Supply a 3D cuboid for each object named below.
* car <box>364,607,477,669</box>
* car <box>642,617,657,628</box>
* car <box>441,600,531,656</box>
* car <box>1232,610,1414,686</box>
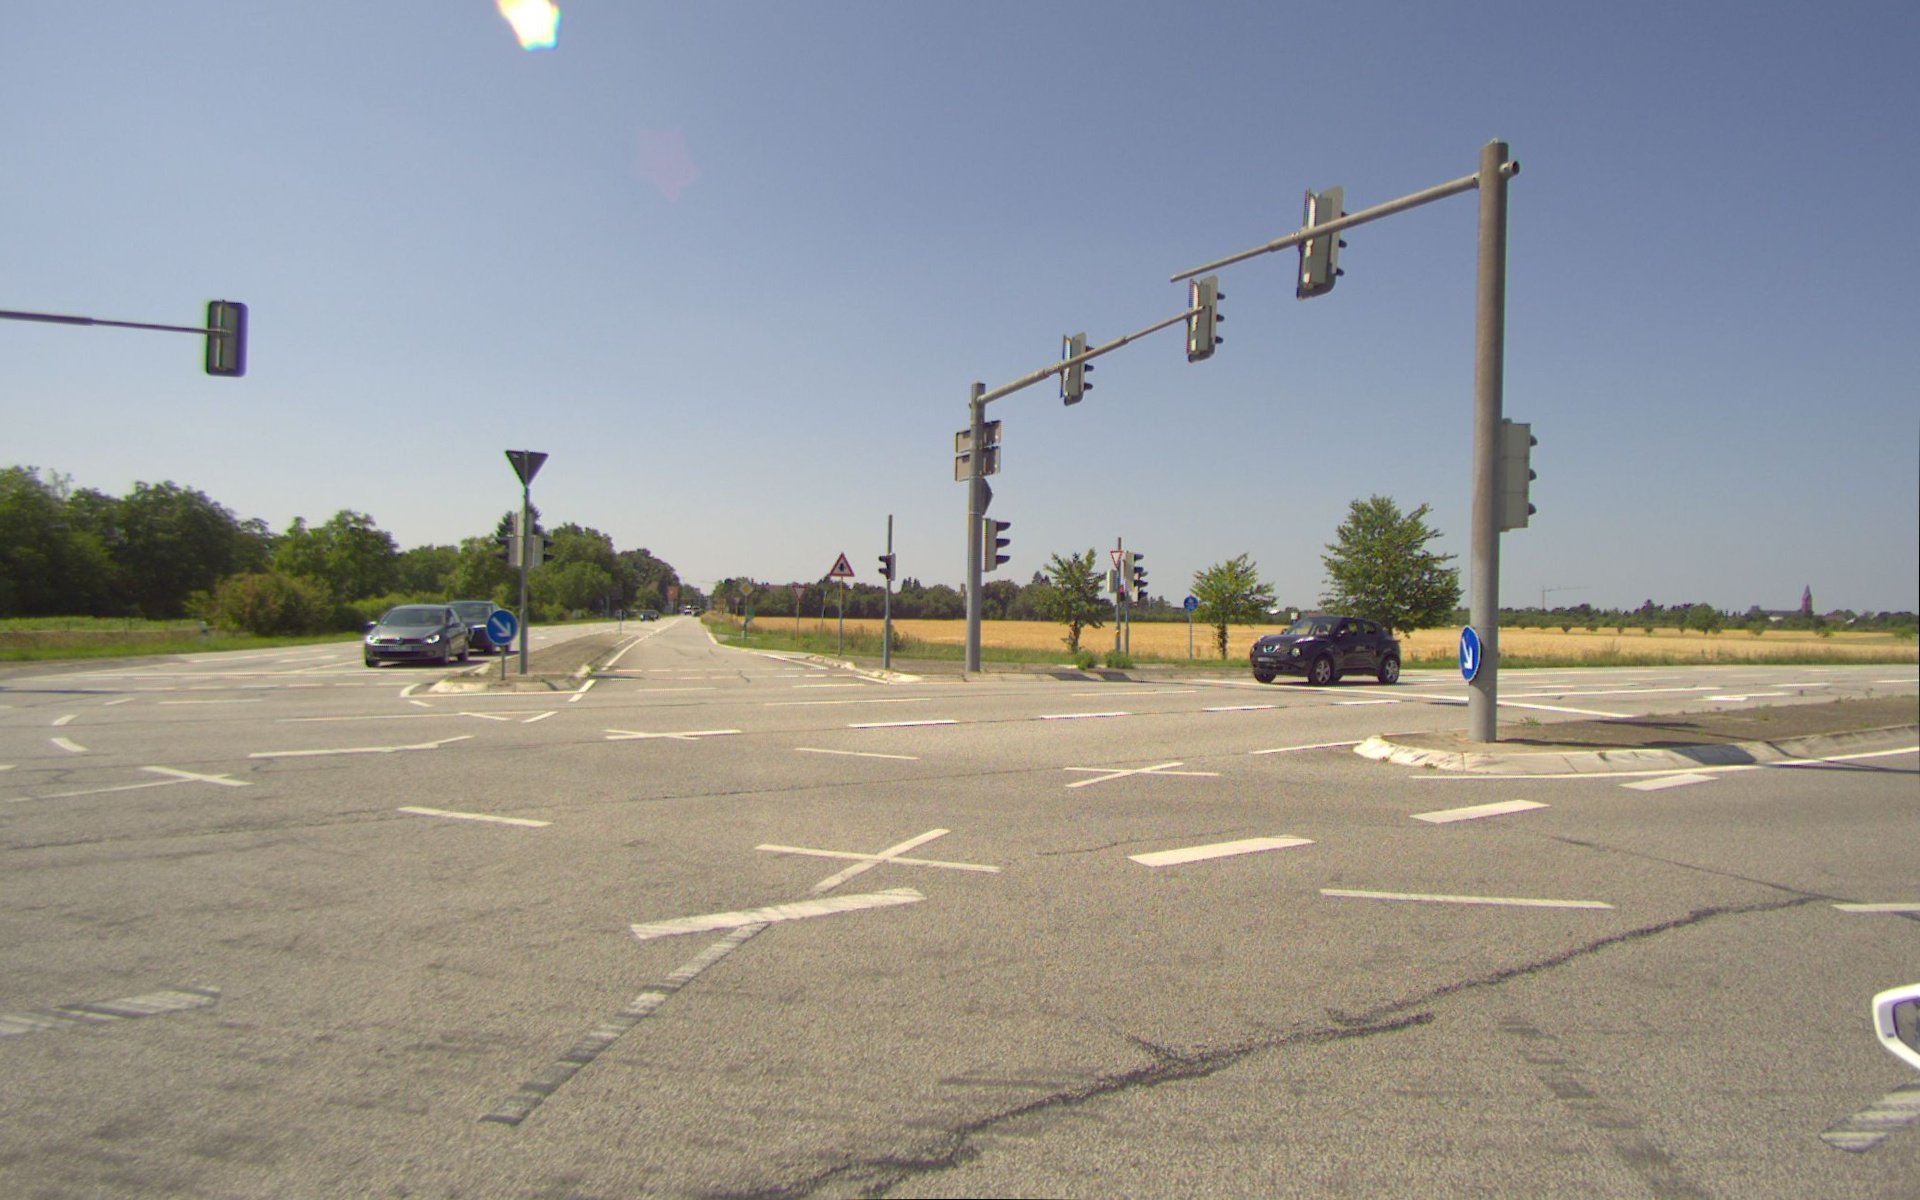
[{"bbox_3d":[-13.351,0.891,25.087,1.608,1.405,3.868,1,0,-15],"label":"car"},{"bbox_3d":[-40.203,2.948,130.121,1.474,1.405,3.766,1,-1,-13],"label":"car"},{"bbox_3d":[-14.736,0.879,31.435,1.607,1.615,4.359,1,-1,-13],"label":"car"},{"bbox_3d":[8.469,1.107,23.337,4.260,1.621,1.819,2,-2,-34],"label":"car"}]
